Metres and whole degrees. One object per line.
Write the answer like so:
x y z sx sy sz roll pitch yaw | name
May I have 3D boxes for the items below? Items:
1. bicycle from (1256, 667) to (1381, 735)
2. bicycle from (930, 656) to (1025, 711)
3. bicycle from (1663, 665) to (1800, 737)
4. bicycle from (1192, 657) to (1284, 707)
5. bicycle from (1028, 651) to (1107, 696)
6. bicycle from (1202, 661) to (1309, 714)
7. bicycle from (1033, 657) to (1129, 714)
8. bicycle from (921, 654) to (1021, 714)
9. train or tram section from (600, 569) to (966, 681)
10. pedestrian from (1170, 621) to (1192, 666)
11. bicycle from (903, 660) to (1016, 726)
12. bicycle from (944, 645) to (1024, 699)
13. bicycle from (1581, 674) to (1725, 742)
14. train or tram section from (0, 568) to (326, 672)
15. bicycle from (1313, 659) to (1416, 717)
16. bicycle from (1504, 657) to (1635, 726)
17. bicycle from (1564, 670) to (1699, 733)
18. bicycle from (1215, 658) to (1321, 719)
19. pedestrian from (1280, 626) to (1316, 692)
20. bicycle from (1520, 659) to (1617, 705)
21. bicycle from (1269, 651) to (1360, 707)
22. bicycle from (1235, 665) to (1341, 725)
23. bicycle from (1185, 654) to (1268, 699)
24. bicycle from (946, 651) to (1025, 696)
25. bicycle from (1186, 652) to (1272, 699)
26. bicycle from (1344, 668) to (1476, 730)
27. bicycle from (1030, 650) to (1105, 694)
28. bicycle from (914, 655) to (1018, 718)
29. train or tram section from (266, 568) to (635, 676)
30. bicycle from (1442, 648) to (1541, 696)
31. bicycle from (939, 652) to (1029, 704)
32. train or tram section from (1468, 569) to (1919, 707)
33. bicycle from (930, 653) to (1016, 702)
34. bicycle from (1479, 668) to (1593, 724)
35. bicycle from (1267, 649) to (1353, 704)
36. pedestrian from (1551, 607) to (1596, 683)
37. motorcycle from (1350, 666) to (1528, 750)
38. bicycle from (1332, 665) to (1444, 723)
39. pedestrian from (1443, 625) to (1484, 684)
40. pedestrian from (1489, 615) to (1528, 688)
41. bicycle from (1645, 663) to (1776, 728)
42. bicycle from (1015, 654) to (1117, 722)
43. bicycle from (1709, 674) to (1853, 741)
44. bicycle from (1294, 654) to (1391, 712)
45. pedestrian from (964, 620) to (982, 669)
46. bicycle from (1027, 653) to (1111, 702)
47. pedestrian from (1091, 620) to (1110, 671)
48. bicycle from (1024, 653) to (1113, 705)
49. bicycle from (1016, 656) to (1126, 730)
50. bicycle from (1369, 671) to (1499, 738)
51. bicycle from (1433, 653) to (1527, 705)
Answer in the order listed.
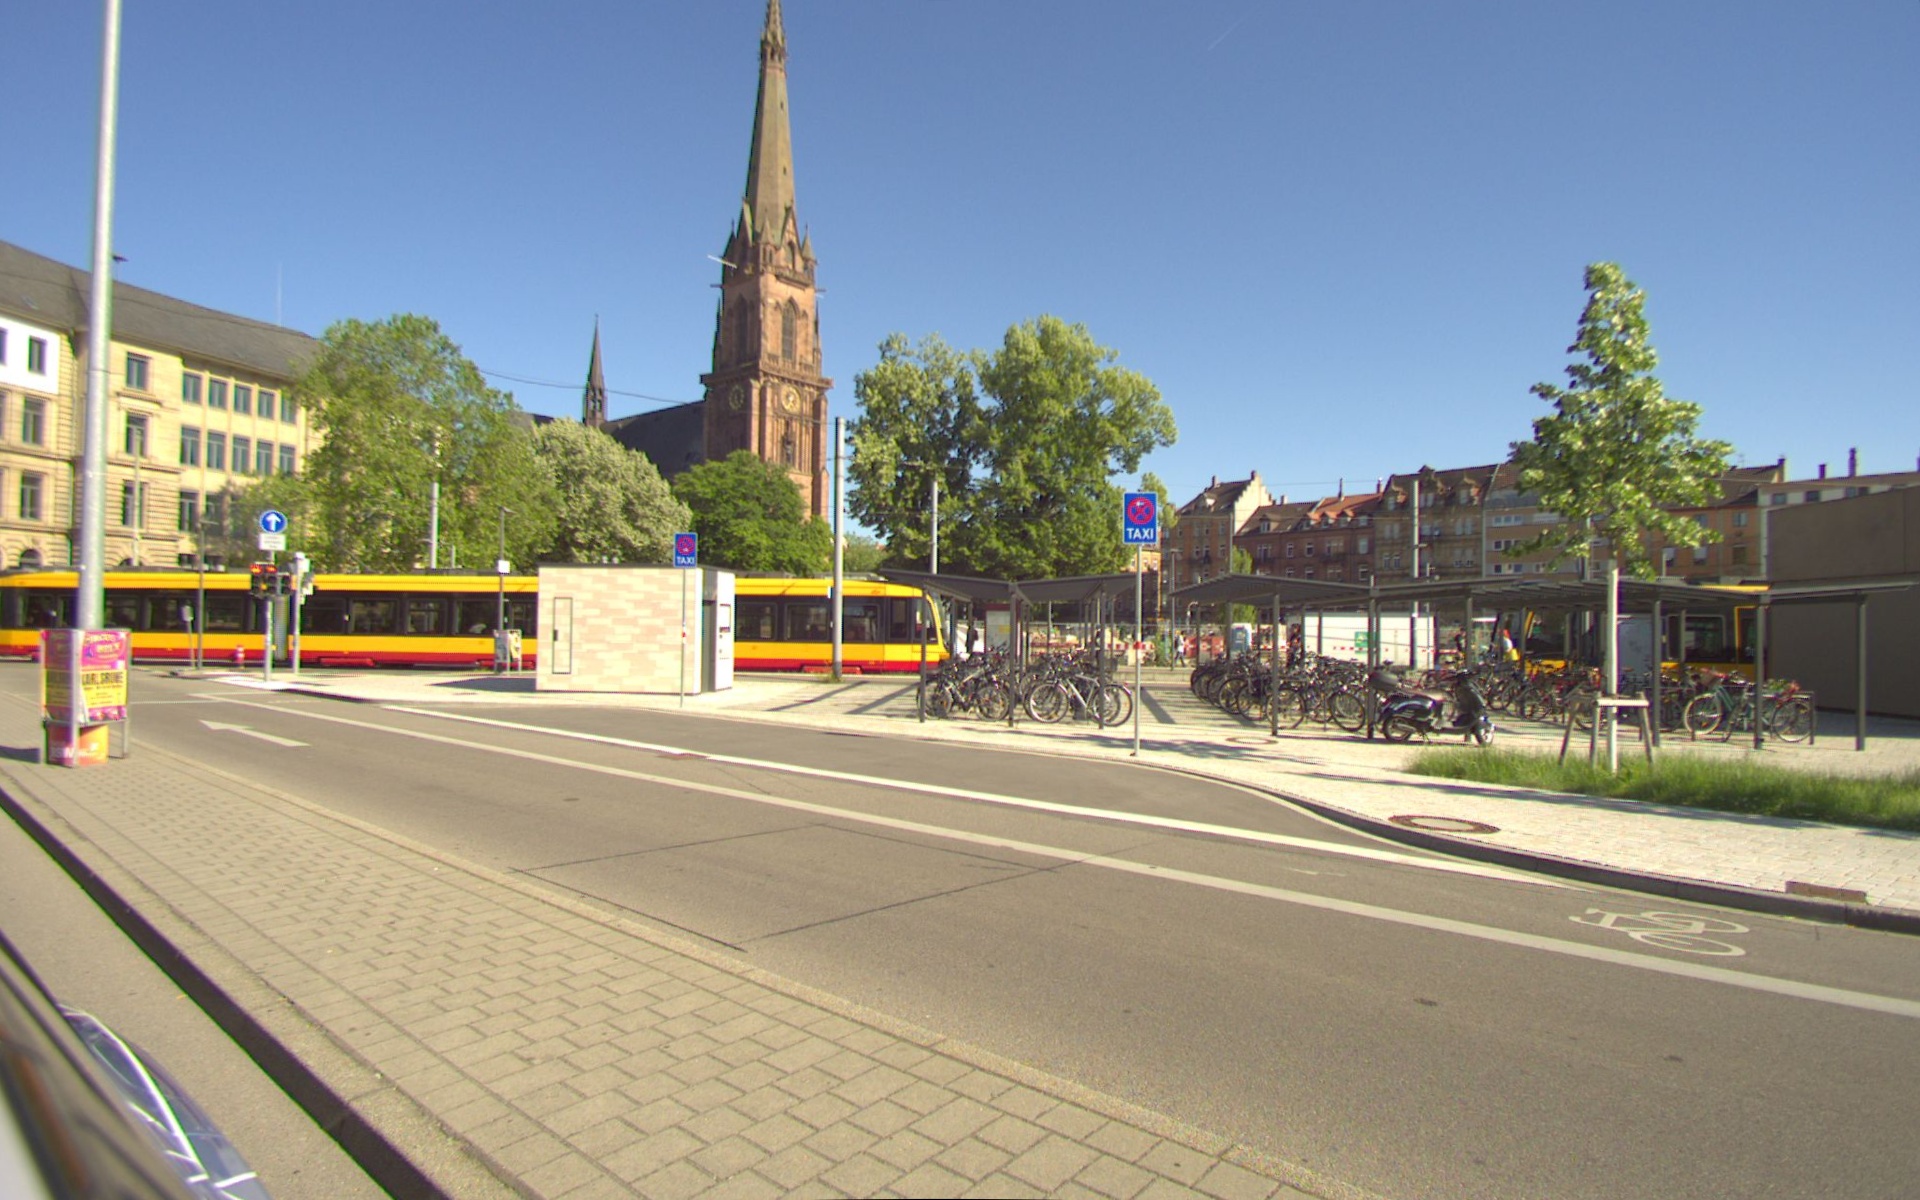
5.978 1.677 16.977 1.871 1.050 0.688 0 -2 9 | bicycle
0.361 1.636 19.983 1.809 1.015 0.627 0 -2 9 | bicycle
12.992 1.688 17.063 1.805 1.155 0.629 0 -2 0 | bicycle
5.970 1.757 21.805 1.805 1.015 0.629 0 -2 0 | bicycle
2.511 1.703 23.608 1.808 1.015 0.627 0 -2 7 | bicycle
5.950 1.761 20.430 1.978 1.015 0.628 0 -2 4 | bicycle
2.321 1.636 19.540 1.808 1.015 0.745 0 -2 7 | bicycle
0.213 1.545 18.764 1.809 1.059 0.571 0 -2 9 | bicycle
-5.969 0.822 34.962 12.174 3.628 2.828 0 -2 6 | train or tram section
9.977 1.967 45.715 0.861 2.029 0.749 0 -2 5 | pedestrian
0.007 1.584 17.370 1.847 1.015 0.699 2 -2 9 | bicycle
0.563 1.647 23.414 1.809 1.188 0.627 0 -2 9 | bicycle
11.159 1.723 16.348 1.809 1.015 0.627 0 -2 9 | bicycle
-30.296 0.714 37.491 12.382 3.628 2.796 0 -2 6 | train or tram section
8.075 1.747 20.261 1.808 1.088 0.627 0 -2 7 | bicycle
11.298 1.688 18.800 2.029 1.218 0.505 0 -2 8 | bicycle
11.604 1.743 17.524 1.872 1.004 0.499 0 -2 13 | bicycle
5.877 1.683 19.409 1.859 1.101 0.626 0 -2 8 | bicycle
8.817 1.527 26.399 0.762 1.672 0.604 0 -2 4 | pedestrian
14.053 1.881 23.405 1.808 1.015 0.627 0 -2 7 | bicycle
7.929 1.768 22.677 1.808 1.198 0.647 0 -2 7 | bicycle
5.854 1.686 18.131 1.731 1.015 0.547 0 -2 10 | bicycle
6.252 1.786 23.797 1.808 1.015 0.627 0 -2 6 | bicycle
0.620 1.751 24.113 1.809 1.015 0.627 0 -2 9 | bicycle
6.122 1.721 23.109 1.807 1.015 0.628 0 -2 5 | bicycle
7.920 1.731 17.875 2.003 1.015 0.627 0 -2 7 | bicycle
2.633 1.759 24.808 1.808 1.015 0.627 0 -2 7 | bicycle
0.117 1.539 18.236 1.809 1.074 0.627 0 -2 9 | bicycle
-18.079 0.765 36.184 12.174 3.628 2.796 0 -2 6 | train or tram section
11.688 1.577 22.306 1.809 1.015 0.627 0 -2 9 | bicycle
0.513 1.616 21.139 1.809 1.015 0.627 0 -2 9 | bicycle
21.351 1.035 28.624 12.179 3.628 2.748 0 -2 7 | train or tram section
0.290 1.691 22.170 1.809 1.015 0.627 0 -2 9 | bicycle
11.262 1.873 19.839 1.809 1.015 0.627 0 -2 9 | bicycle
8.237 1.785 23.875 1.808 1.242 0.627 0 -2 7 | bicycle
15.389 1.112 25.383 0.700 1.869 0.751 2 -2 -38 | pedestrian
7.169 1.605 15.232 2.333 1.167 0.610 0 -2 7 | motorcycle
8.001 1.749 18.969 1.808 1.015 0.627 0 -2 7 | bicycle
17.666 1.902 35.508 0.997 2.029 0.872 0 -2 0 | pedestrian
14.219 1.317 26.244 0.595 1.869 0.683 2 -2 -38 | pedestrian
13.591 1.717 18.358 1.808 1.101 0.627 0 -2 7 | bicycle
1.910 1.578 18.275 1.808 1.157 0.627 0 -2 7 | bicycle
13.021 1.696 16.075 1.803 1.015 0.629 1 -2 -3 | bicycle
8.111 1.746 21.527 1.808 1.170 0.627 0 -2 7 | bicycle
0.492 1.696 39.071 0.671 1.869 0.605 0 -2 -1 | pedestrian
2.378 1.688 22.122 1.808 1.015 0.627 0 -2 7 | bicycle
5.138 1.655 37.031 0.673 1.869 0.604 0 -2 6 | pedestrian
2.230 1.610 20.847 1.808 1.015 0.627 0 -2 7 | bicycle
1.865 1.557 17.132 1.808 1.167 0.627 1 -2 7 | bicycle
7.768 1.705 16.649 1.808 1.015 0.627 0 -2 7 | bicycle
12.001 1.815 23.402 1.809 1.140 0.627 0 -2 9 | bicycle
